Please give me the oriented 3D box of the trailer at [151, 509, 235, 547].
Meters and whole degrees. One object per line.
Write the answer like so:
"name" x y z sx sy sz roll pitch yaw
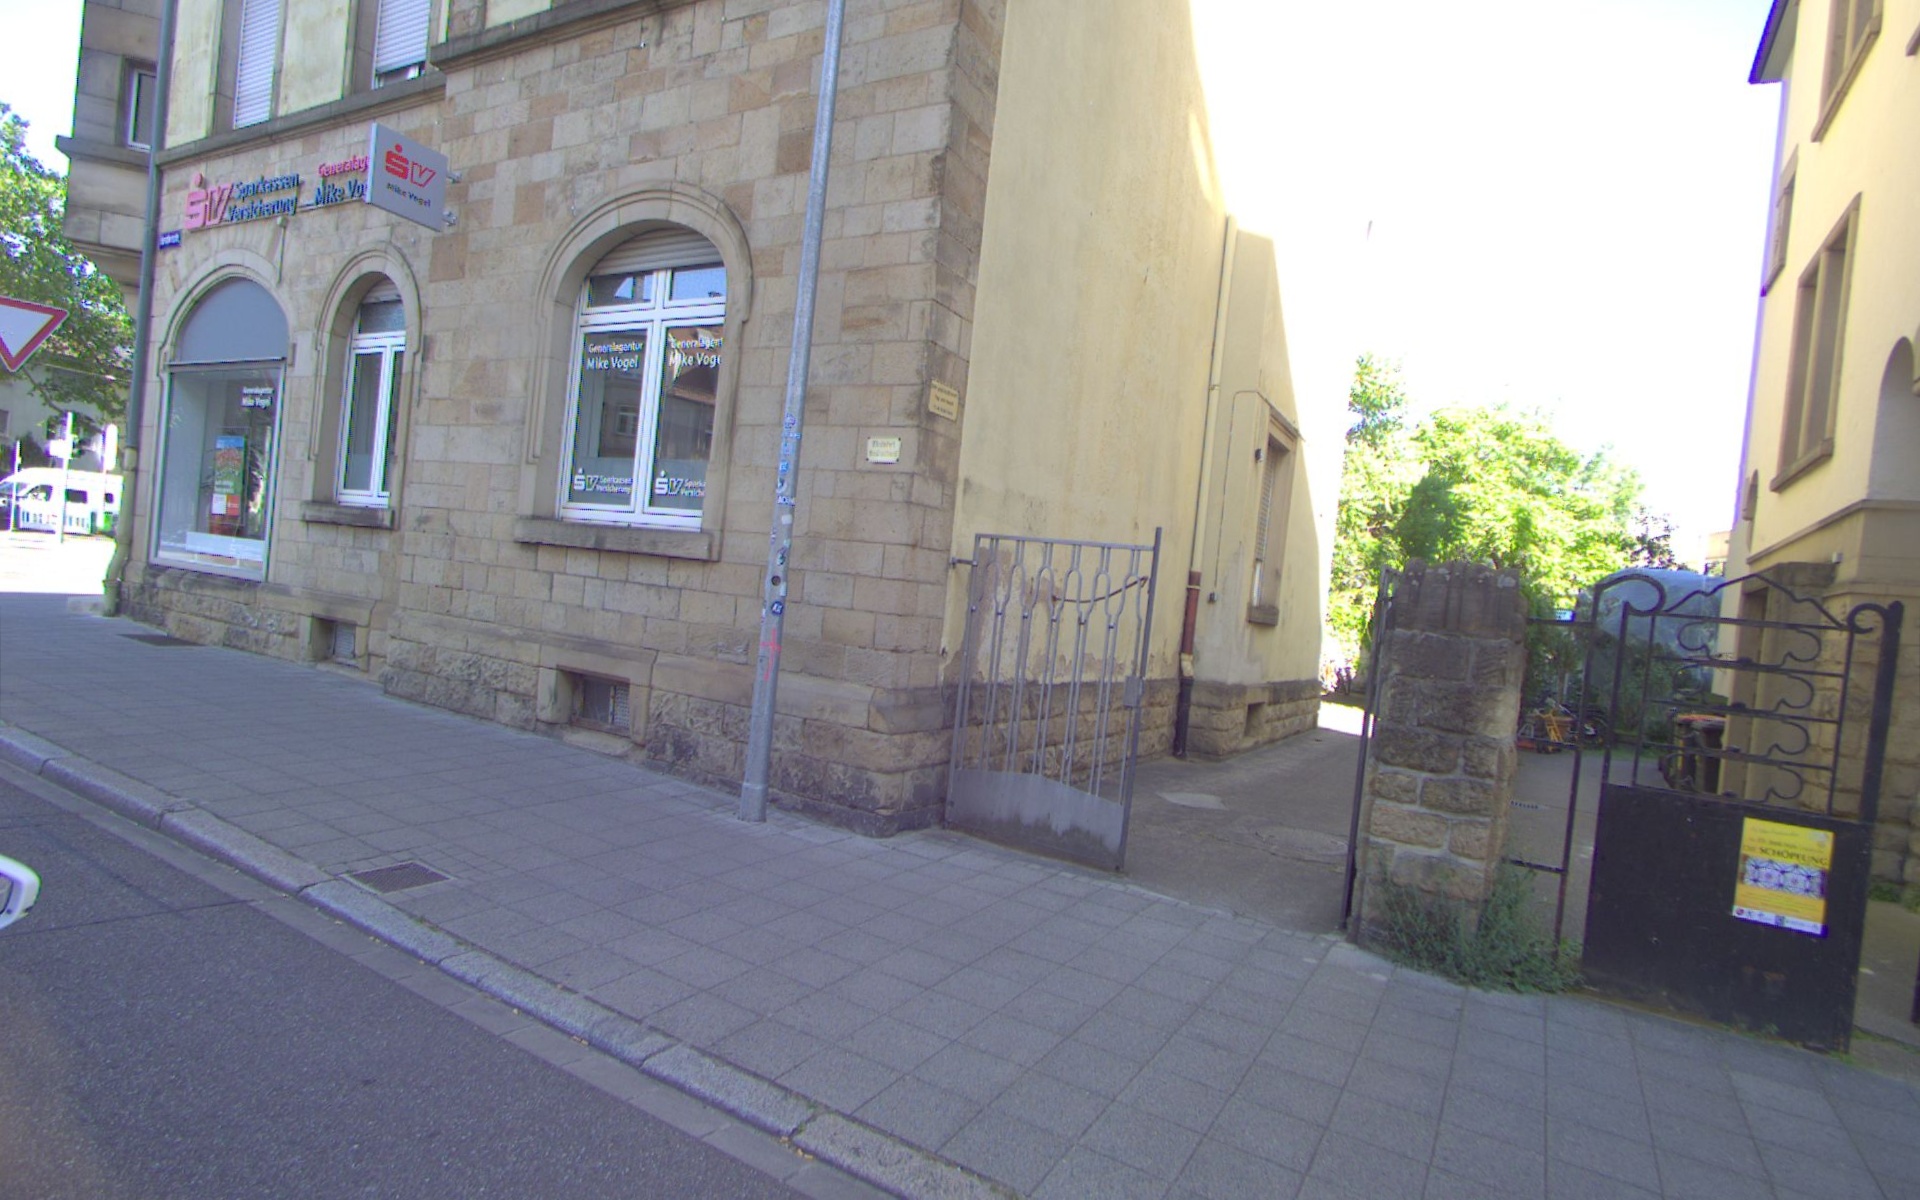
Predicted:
"trailer" -34.179 -3.205 44.901 1.246 1.328 2.749 7 0 13

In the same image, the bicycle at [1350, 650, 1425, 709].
"bicycle" 10.617 1.950 25.084 0.860 1.180 2.659 6 0 6

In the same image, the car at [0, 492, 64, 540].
"car" -33.622 -3.038 34.509 1.627 1.469 4.000 7 0 14

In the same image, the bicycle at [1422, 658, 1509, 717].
"bicycle" 12.304 2.107 24.614 0.855 1.124 2.864 6 0 7

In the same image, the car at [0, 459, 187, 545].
"car" -35.070 -3.865 40.597 1.962 2.600 6.061 7 0 14
